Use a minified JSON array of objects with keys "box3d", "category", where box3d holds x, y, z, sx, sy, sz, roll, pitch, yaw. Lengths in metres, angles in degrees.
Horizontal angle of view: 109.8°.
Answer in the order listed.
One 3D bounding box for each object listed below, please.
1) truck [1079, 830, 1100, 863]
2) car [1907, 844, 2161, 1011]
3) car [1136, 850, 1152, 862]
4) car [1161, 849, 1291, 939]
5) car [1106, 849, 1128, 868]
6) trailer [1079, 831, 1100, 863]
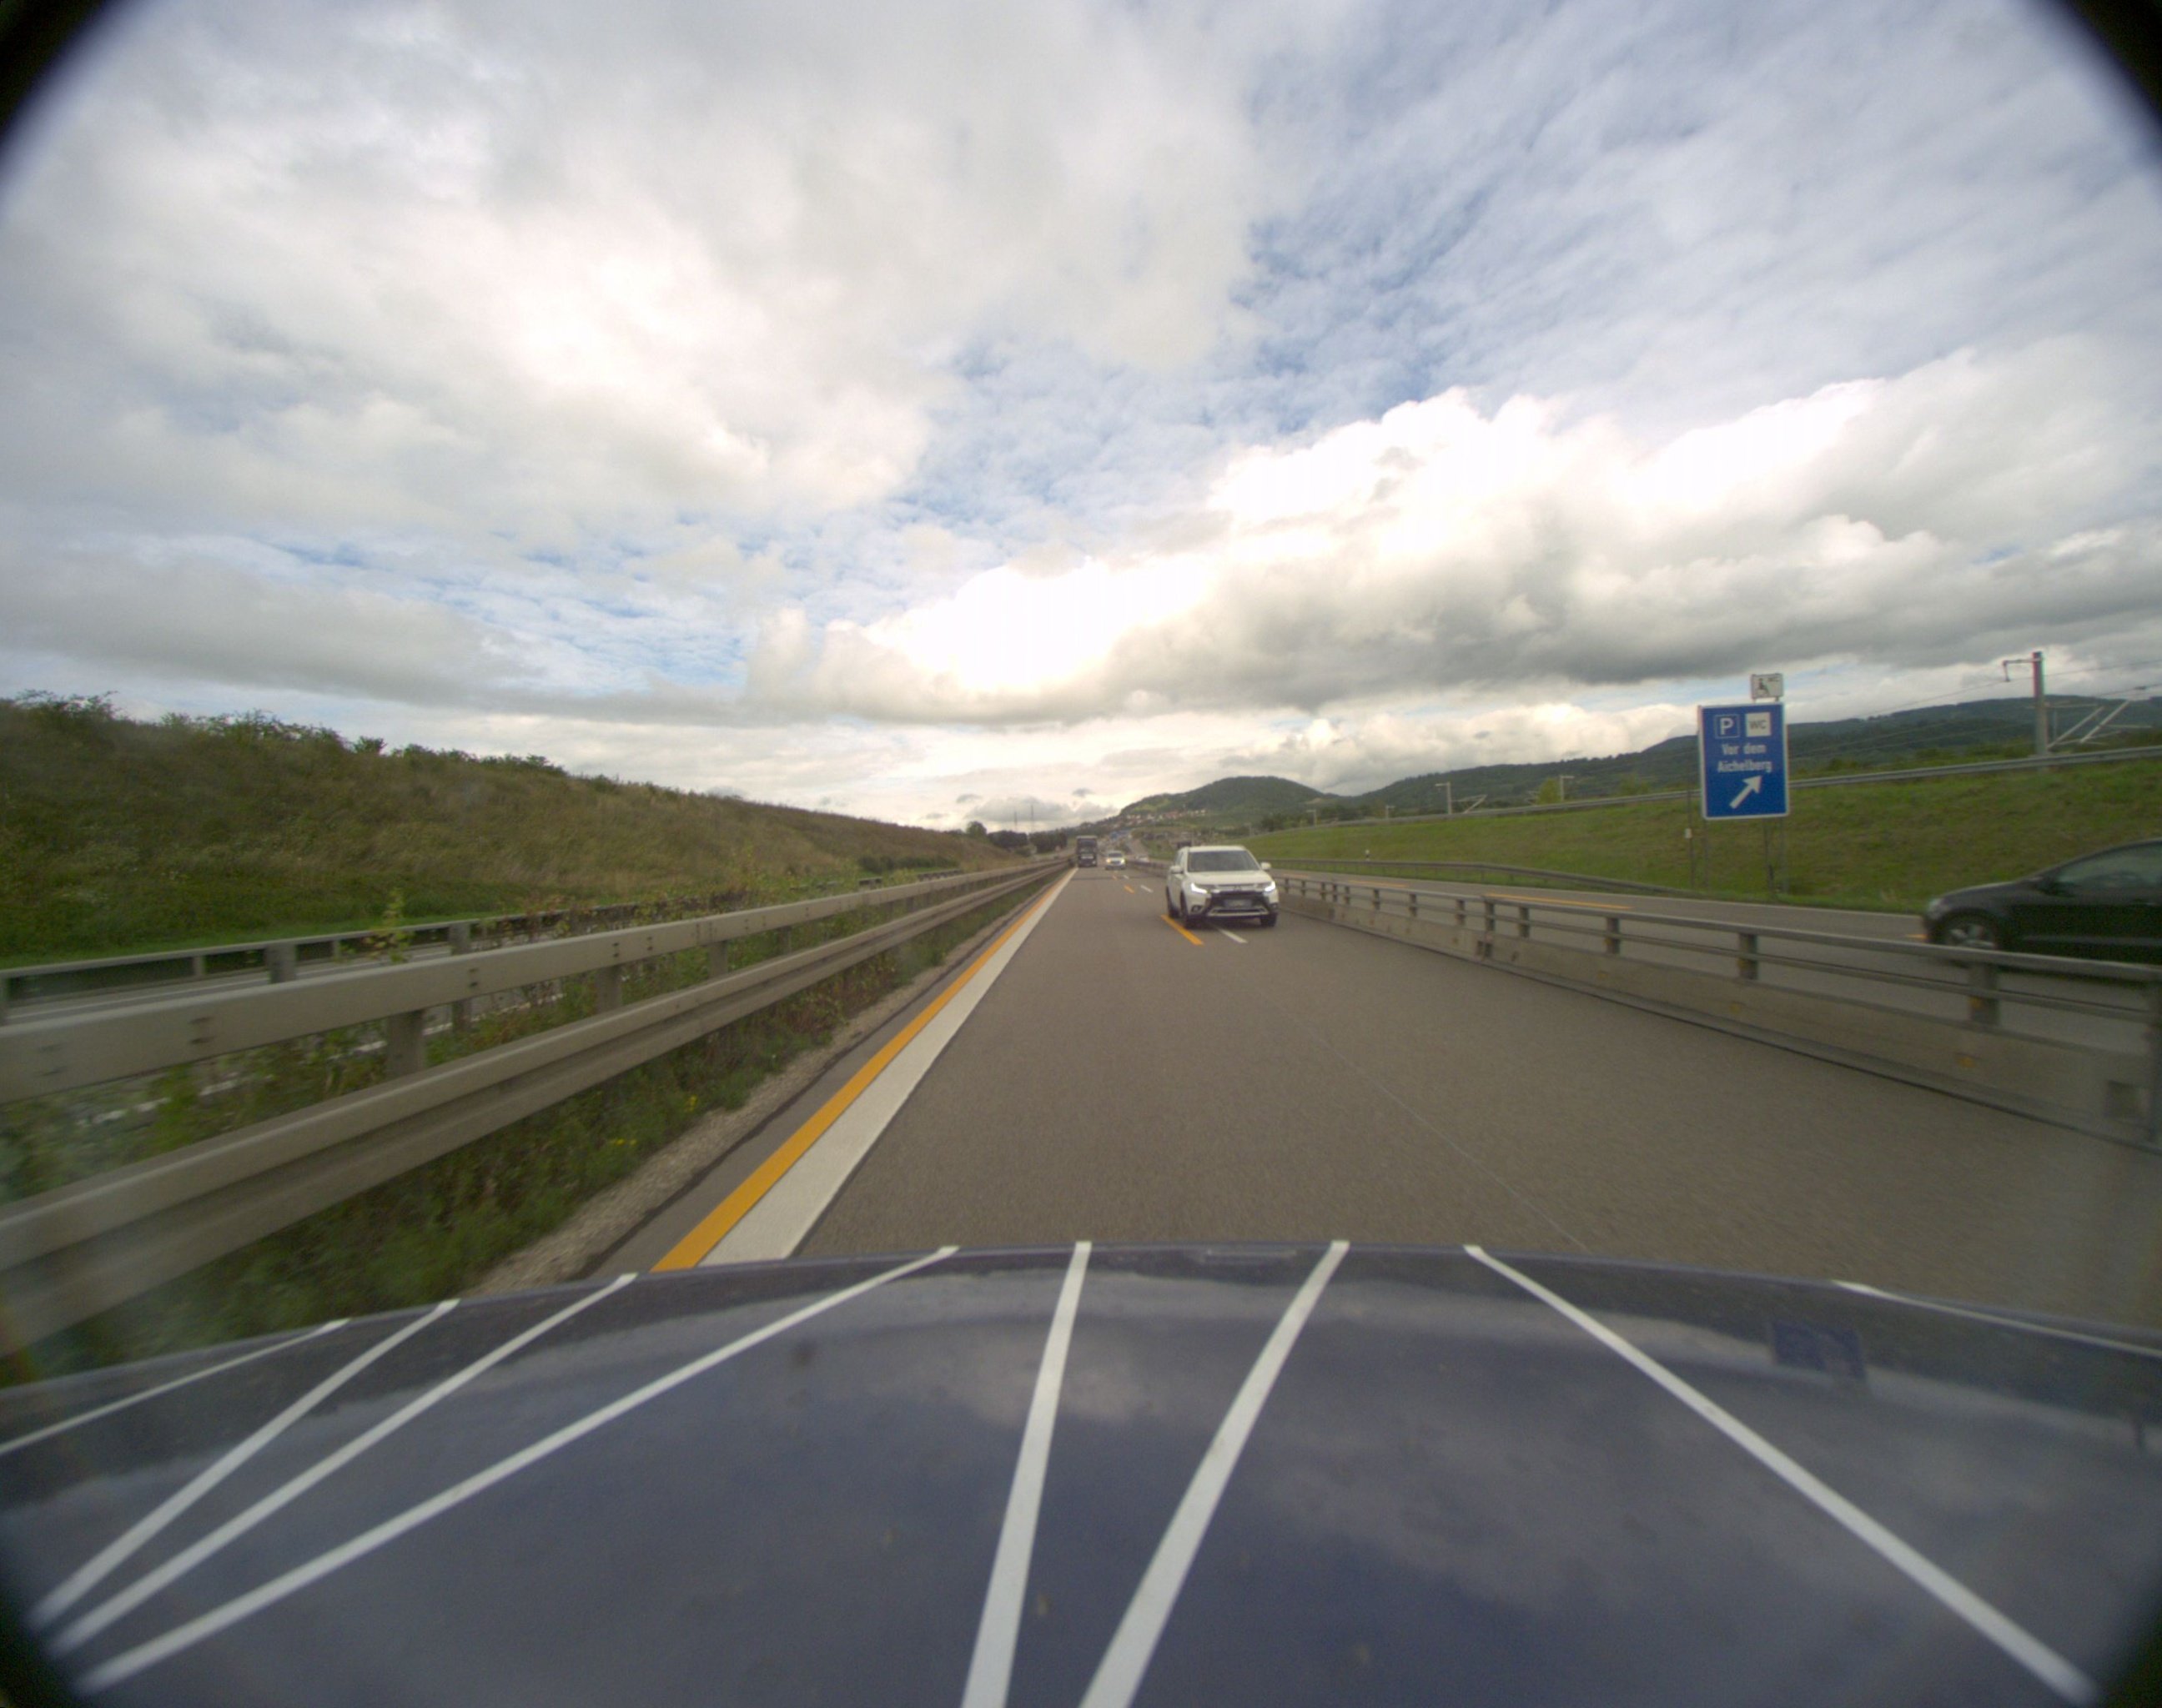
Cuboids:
[{"box3d":[1.125,-0.959,99.784,2.521,4.081,5.685,-2,1,1],"category":"truck"},{"box3d":[10.157,0.626,6.504,1.762,1.380,3.999,-2,0,-1],"category":"car"},{"box3d":[7.859,0.253,94.828,1.761,1.380,4.000,-2,0,2],"category":"car"},{"box3d":[2.900,0.727,16.272,1.998,1.618,4.607,-1,0,2],"category":"car"},{"box3d":[3.621,0.396,77.138,1.990,1.787,4.585,-2,1,1],"category":"car"},{"box3d":[1.249,-1.007,104.941,2.521,4.081,11.113,-2,1,1],"category":"trailer"}]
